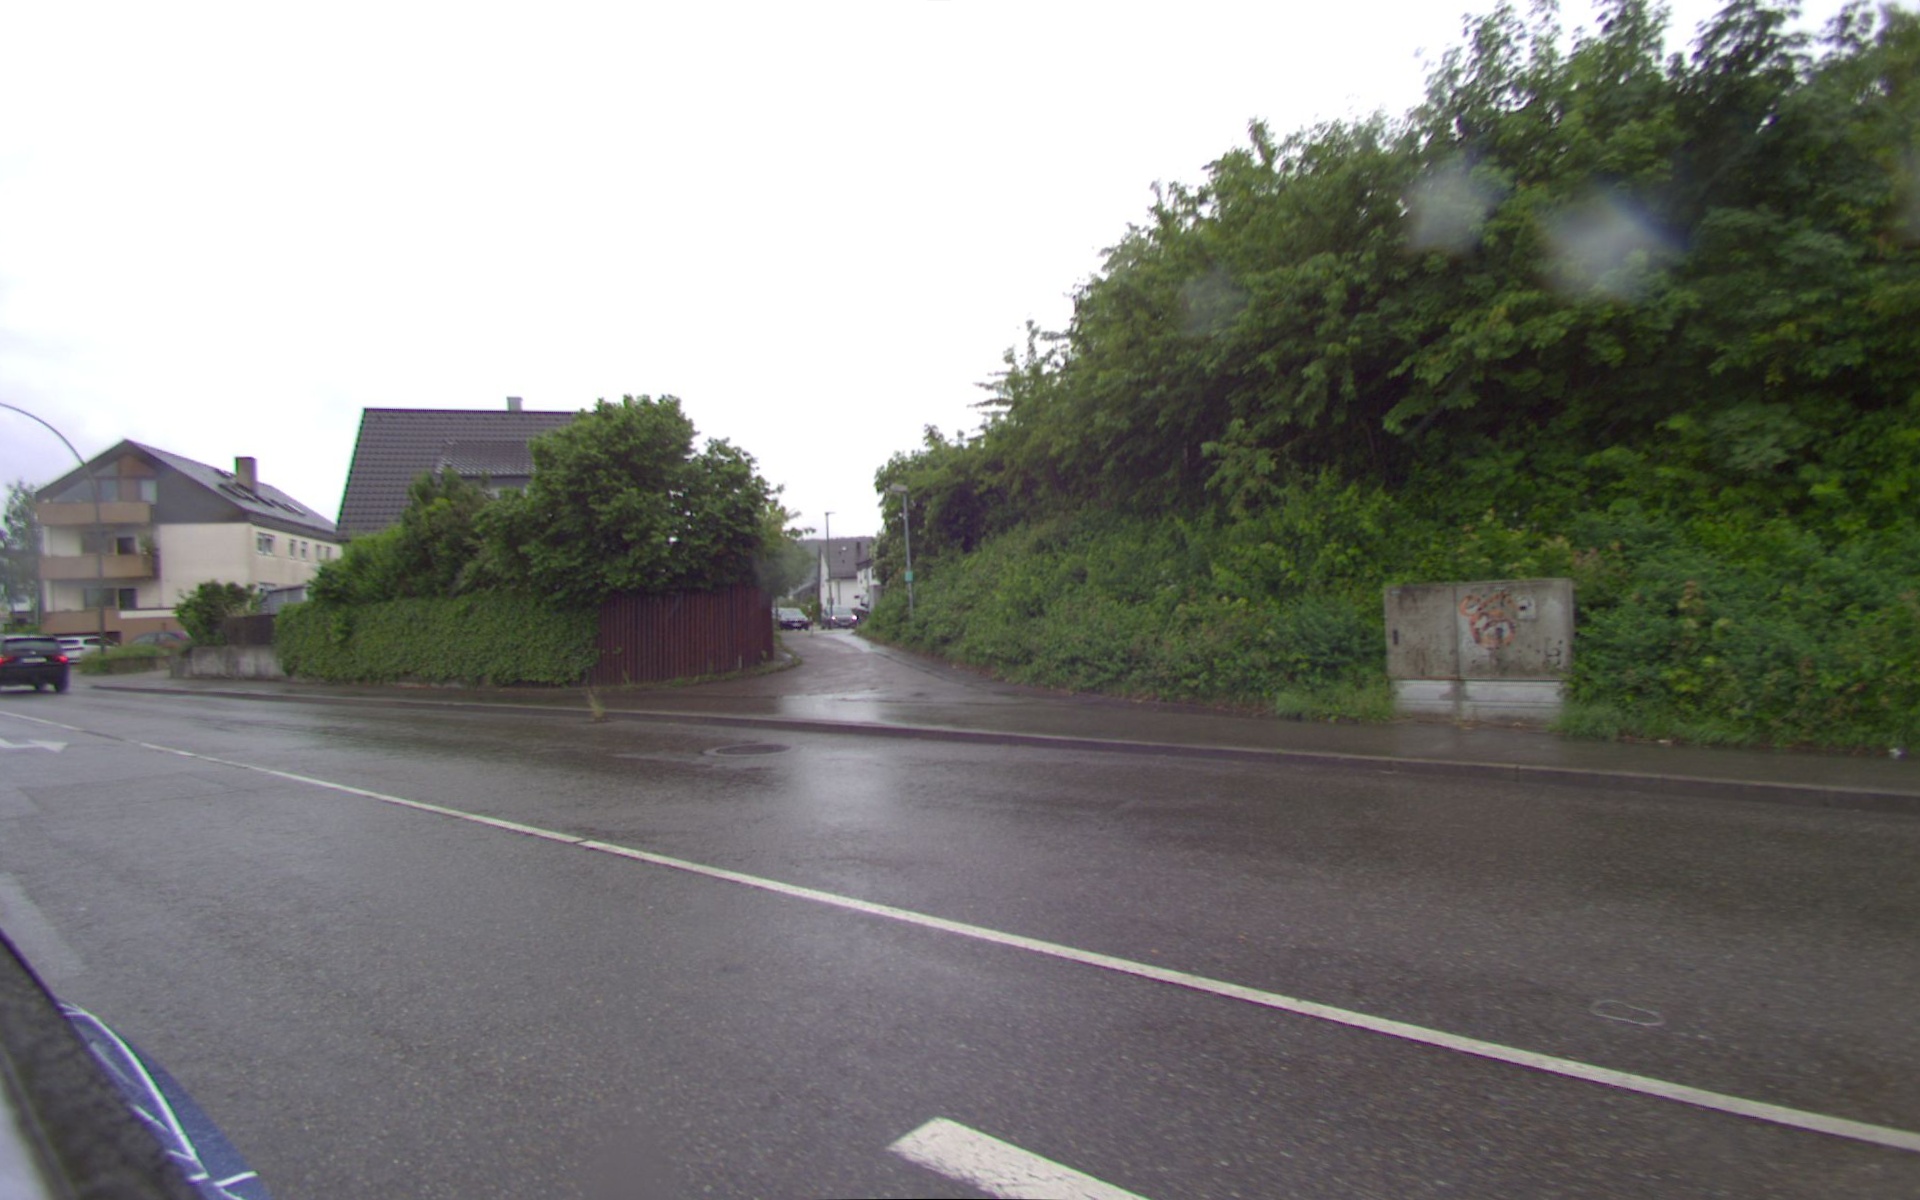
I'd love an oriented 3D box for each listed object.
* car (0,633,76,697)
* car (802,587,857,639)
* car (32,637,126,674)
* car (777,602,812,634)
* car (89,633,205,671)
[{"bbox_3d":[-27.355,1.854,29.349,4.413,1.680,1.973,-2,-1,40],"label":"car"},{"bbox_3d":[-4.293,0.417,33.389,1.684,1.600,3.668,-1,0,-7],"label":"car"},{"bbox_3d":[-41.699,2.600,48.017,1.837,1.530,4.012,-2,0,-17],"label":"car"},{"bbox_3d":[-10.219,1.113,62.607,1.968,1.873,4.007,-2,0,-8],"label":"car"},{"bbox_3d":[-36.359,2.308,45.346,3.609,1.530,1.759,-2,0,-14],"label":"car"}]
